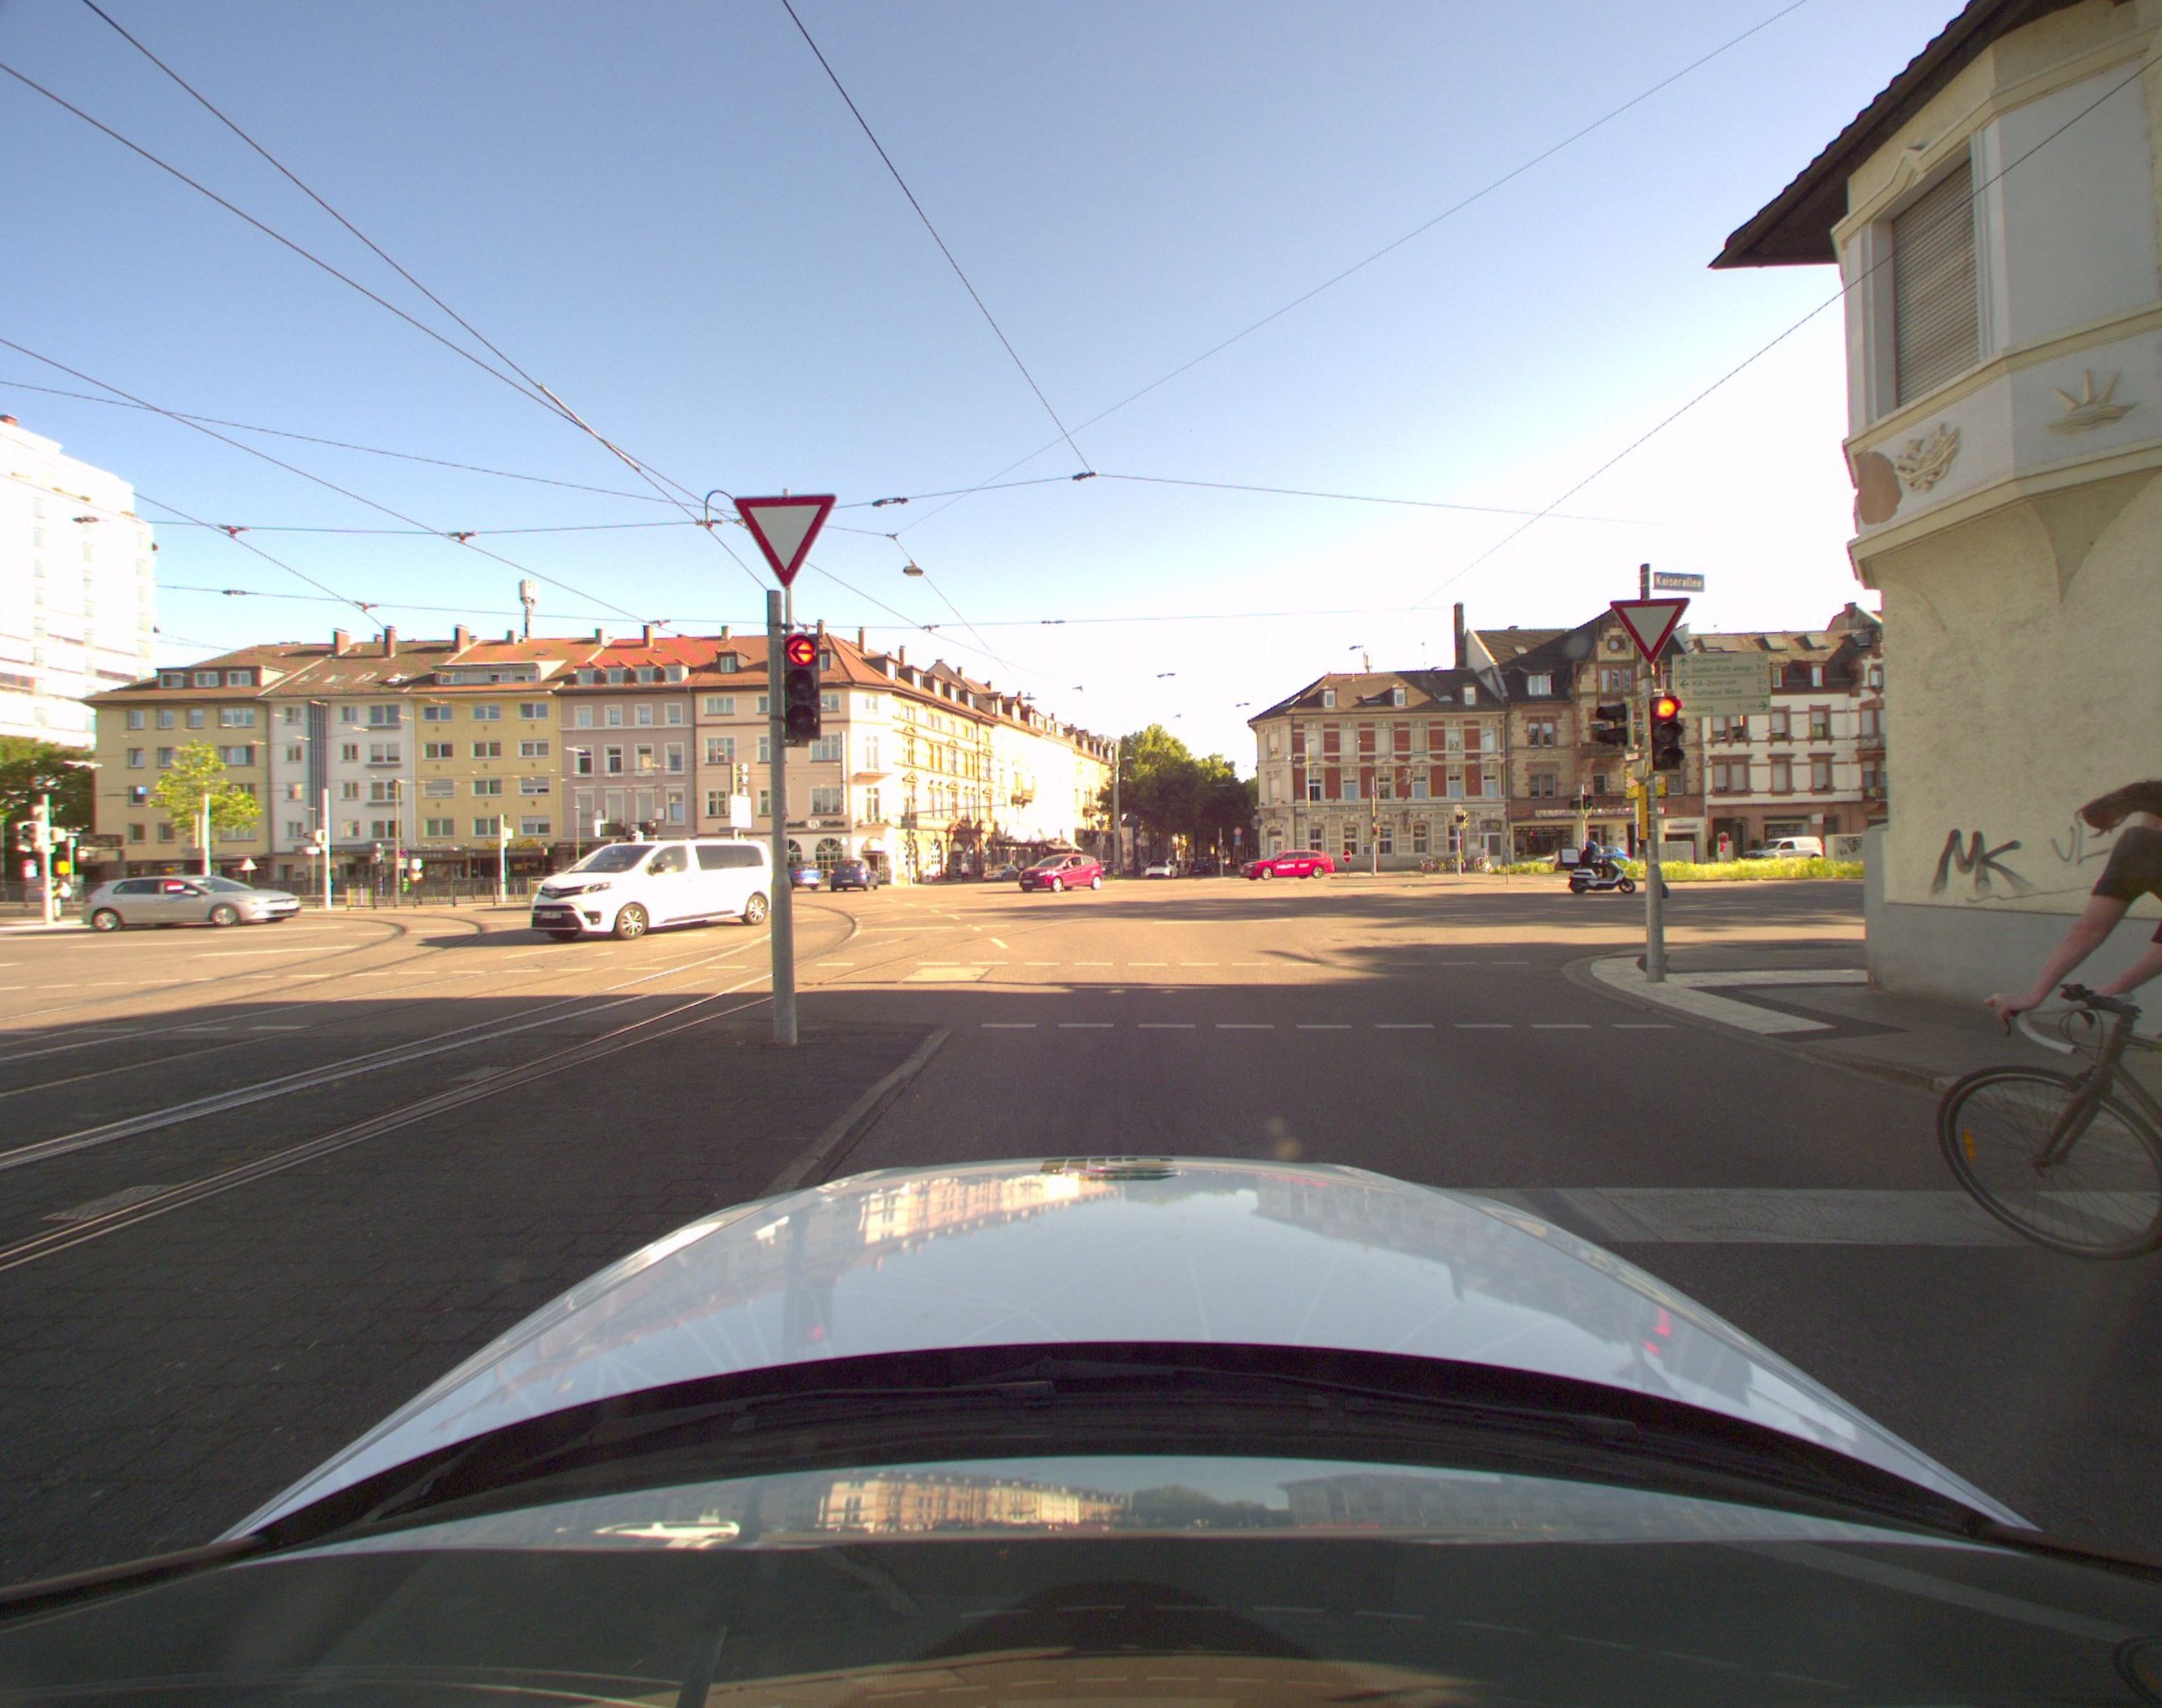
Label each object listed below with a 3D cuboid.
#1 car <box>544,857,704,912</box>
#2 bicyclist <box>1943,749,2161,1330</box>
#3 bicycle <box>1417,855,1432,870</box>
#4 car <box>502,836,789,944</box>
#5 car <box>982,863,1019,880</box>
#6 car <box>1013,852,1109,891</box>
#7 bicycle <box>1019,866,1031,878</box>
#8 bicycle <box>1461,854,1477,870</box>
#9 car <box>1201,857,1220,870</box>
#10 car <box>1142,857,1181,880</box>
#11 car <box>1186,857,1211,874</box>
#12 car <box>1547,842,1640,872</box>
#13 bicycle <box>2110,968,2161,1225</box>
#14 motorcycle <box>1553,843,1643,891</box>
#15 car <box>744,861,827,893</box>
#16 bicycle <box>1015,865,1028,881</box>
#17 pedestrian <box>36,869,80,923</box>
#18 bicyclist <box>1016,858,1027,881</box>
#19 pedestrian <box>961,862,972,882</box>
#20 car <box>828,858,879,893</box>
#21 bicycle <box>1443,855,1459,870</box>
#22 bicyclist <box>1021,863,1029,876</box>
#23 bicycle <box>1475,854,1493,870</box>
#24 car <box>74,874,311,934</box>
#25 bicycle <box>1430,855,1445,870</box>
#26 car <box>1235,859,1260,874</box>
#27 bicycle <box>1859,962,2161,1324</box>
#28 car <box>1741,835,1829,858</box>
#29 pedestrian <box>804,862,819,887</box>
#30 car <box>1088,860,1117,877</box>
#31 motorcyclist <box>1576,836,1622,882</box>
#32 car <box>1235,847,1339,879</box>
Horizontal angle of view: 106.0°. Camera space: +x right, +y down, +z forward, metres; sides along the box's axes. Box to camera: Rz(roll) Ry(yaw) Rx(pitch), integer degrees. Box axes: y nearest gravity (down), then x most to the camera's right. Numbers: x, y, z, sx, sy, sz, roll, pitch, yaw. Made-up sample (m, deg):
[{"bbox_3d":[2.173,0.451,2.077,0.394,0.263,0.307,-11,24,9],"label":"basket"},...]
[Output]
[{"bbox_3d":[-15.526,0.984,27.774,4.476,1.602,1.852,-2,0,-39],"label":"car"},{"bbox_3d":[3.582,0.563,2.630,0.587,1.767,0.936,0,-1,2],"label":"bicyclist"},{"bbox_3d":[22.505,0.573,53.359,0.758,0.963,2.221,-1,-1,20],"label":"bicycle"},{"bbox_3d":[-8.583,0.611,16.762,1.977,1.854,5.241,-1,0,18],"label":"car"},{"bbox_3d":[-6.612,1.450,67.368,1.647,1.374,3.909,-1,-1,17],"label":"car"},{"bbox_3d":[-0.739,0.653,32.343,1.575,1.426,3.906,-1,0,40],"label":"car"},{"bbox_3d":[-4.635,1.506,67.610,0.469,0.922,1.458,-1,-1,17],"label":"bicycle"},{"bbox_3d":[25.190,0.537,52.877,0.758,1.007,2.231,-1,-1,20],"label":"bicycle"},{"bbox_3d":[18.468,1.342,116.027,1.978,1.684,4.018,-1,-1,17],"label":"car"},{"bbox_3d":[5.847,1.043,58.987,1.877,1.454,4.028,-2,1,19],"label":"car"},{"bbox_3d":[10.552,0.994,72.893,1.812,1.403,4.016,-1,0,15],"label":"car"},{"bbox_3d":[28.328,0.173,45.116,3.970,1.622,1.806,0,-1,3],"label":"car"},{"bbox_3d":[4.456,0.953,2.447,0.501,0.983,1.783,0,-1,2],"label":"bicycle"},{"bbox_3d":[15.082,0.381,23.812,2.116,1.333,0.801,-1,-1,24],"label":"motorcycle"},{"bbox_3d":[-15.648,1.220,43.092,4.145,1.575,1.843,-1,0,30],"label":"car"},{"bbox_3d":[-4.767,1.488,65.360,0.561,1.254,1.564,-1,-1,17],"label":"bicycle"},{"bbox_3d":[-31.646,1.280,25.200,0.770,1.609,0.605,0,-1,-44],"label":"pedestrian"},{"bbox_3d":[-4.796,1.212,65.304,0.561,1.804,0.918,-1,-1,17],"label":"bicyclist"},{"bbox_3d":[-9.335,1.456,66.353,0.562,1.642,0.797,-1,-1,25],"label":"pedestrian"},{"bbox_3d":[-10.827,0.990,38.962,1.783,1.503,3.909,-2,0,-7],"label":"car"},{"bbox_3d":[24.047,0.559,52.969,0.758,0.983,2.221,-1,-1,20],"label":"bicycle"},{"bbox_3d":[-4.637,1.287,67.623,0.469,1.040,0.540,-1,-1,17],"label":"bicyclist"},{"bbox_3d":[26.047,0.529,52.670,0.785,1.016,2.221,-1,-1,20],"label":"bicycle"},{"bbox_3d":[-24.435,1.341,22.555,4.214,1.389,1.729,-2,0,-10],"label":"car"},{"bbox_3d":[23.260,0.566,53.092,0.758,0.968,2.221,-1,-1,20],"label":"bicycle"},{"bbox_3d":[16.903,1.255,82.328,1.741,1.556,4.021,-1,-1,22],"label":"car"},{"bbox_3d":[3.586,0.958,2.626,0.480,0.991,1.783,0,-1,2],"label":"bicycle"},{"bbox_3d":[45.191,-0.449,52.361,3.961,1.438,1.874,0,-1,5],"label":"car"},{"bbox_3d":[-16.922,1.282,51.125,0.666,1.594,0.815,0,-1,1],"label":"pedestrian"},{"bbox_3d":[2.126,1.375,79.543,1.788,1.575,3.908,-1,-1,17],"label":"car"},{"bbox_3d":[15.124,0.156,23.793,1.005,1.300,0.793,-1,-1,24],"label":"motorcyclist"},{"bbox_3d":[10.507,0.449,41.679,4.861,1.469,1.797,-1,1,-12],"label":"car"}]
